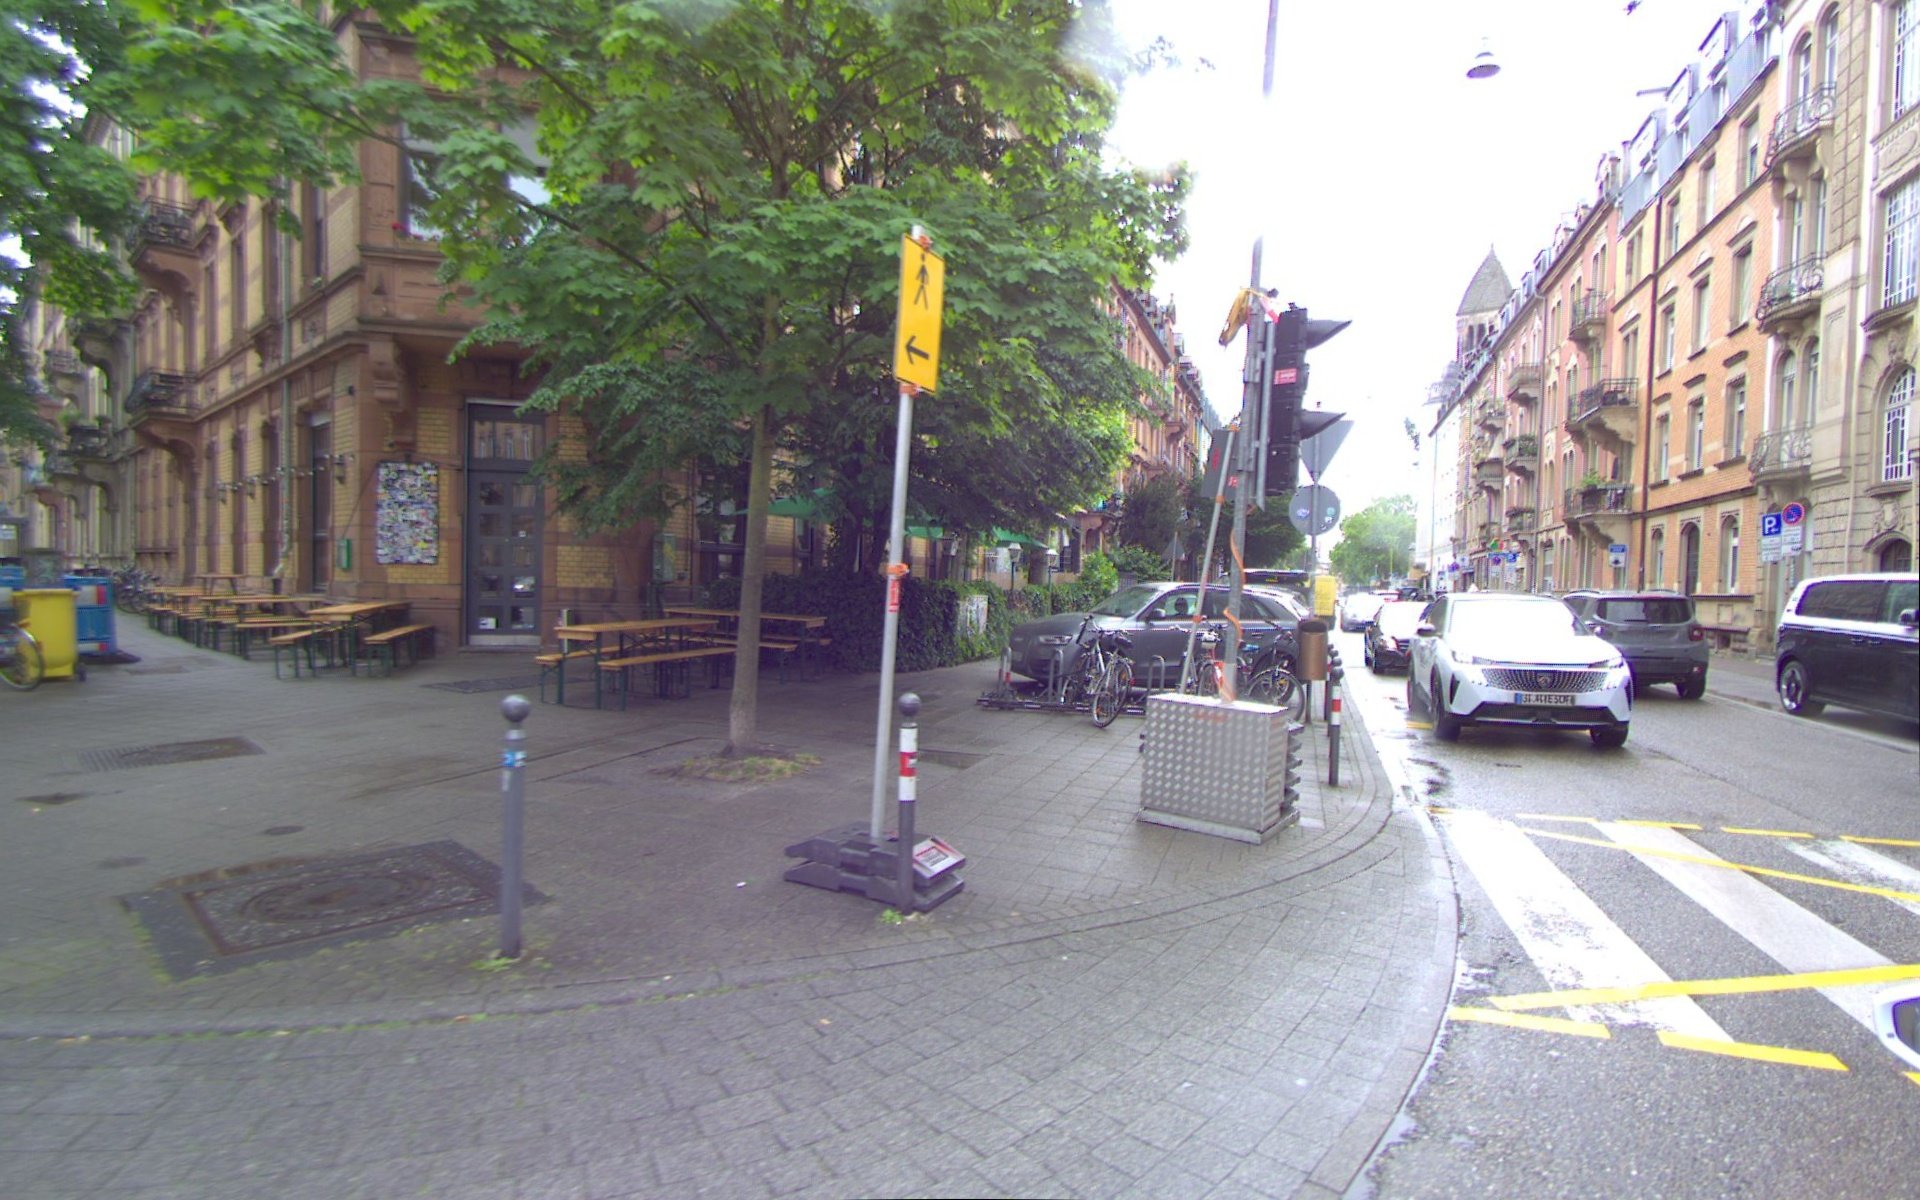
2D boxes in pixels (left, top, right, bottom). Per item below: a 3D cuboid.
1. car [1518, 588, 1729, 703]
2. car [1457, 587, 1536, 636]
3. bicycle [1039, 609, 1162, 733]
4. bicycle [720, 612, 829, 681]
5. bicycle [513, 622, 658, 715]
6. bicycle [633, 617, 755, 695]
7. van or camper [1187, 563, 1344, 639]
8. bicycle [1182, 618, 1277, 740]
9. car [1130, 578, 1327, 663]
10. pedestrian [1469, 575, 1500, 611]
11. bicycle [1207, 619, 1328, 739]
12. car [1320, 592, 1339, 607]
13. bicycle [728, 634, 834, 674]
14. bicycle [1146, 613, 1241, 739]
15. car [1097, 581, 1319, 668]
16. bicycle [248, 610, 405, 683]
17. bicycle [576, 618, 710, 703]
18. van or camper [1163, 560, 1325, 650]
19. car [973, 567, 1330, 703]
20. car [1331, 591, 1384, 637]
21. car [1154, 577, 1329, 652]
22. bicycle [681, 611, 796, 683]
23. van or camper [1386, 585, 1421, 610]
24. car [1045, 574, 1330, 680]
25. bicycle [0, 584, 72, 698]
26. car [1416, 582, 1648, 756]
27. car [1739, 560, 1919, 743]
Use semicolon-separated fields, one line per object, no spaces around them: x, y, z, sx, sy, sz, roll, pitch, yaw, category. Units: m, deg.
11.157;0.656;17.275;1.867;1.693;4.506;1;1;18;car
21.398;0.417;40.272;1.960;1.803;4.827;1;1;18;car
1.464;0.712;10.841;0.762;1.159;1.928;2;1;-9;bicycle
-2.456;0.603;13.313;1.367;0.826;0.406;2;1;15;bicycle
-3.724;0.659;9.982;1.367;0.826;0.406;2;2;15;bicycle
-3.139;0.644;11.860;1.367;0.826;0.406;2;2;15;bicycle
10.536;0.020;34.787;4.646;2.298;2.179;3;2;-13;van or camper
2.910;0.815;10.992;0.392;1.159;1.680;2;1;-6;bicycle
6.301;0.466;23.671;4.072;1.684;1.794;4;1;-17;car
28.264;-0.393;54.158;1.923;0.817;0.674;-48;26;-26;pedestrian
3.377;0.832;11.187;0.576;1.159;1.679;2;1;-9;bicycle
39.245;-0.091;106.775;1.641;1.580;4.004;1;1;17;car
-2.430;0.729;13.659;1.367;0.459;0.406;2;1;15;bicycle
2.507;0.776;10.972;0.392;1.201;1.876;2;1;-6;bicycle
5.130;0.505;20.881;4.071;1.513;1.795;4;0;-16;car
-7.549;0.553;12.020;1.520;0.826;0.404;1;1;-15;bicycle
-3.429;0.637;10.869;1.367;0.826;0.406;2;2;15;bicycle
8.219;0.157;29.227;4.015;2.269;1.932;4;0;-13;van or camper
2.596;0.486;13.875;4.387;1.584;1.993;3;0;-17;car
16.453;0.529;41.755;1.766;1.514;4.581;5;4;19;car
7.442;0.393;26.619;4.072;1.684;1.794;4;0;-17;car
-2.778;0.579;12.617;1.367;0.826;0.406;2;2;15;bicycle
34.271;-0.202;77.688;1.988;1.916;5.055;0;1;19;van or camper
4.130;0.480;18.445;4.647;1.584;1.994;3;2;-15;car
-10.497;0.385;10.496;2.364;1.106;0.742;2;1;19;bicycle
6.740;0.687;12.386;1.828;1.682;5.006;0;0;22;car
11.692;0.539;12.022;1.960;1.965;5.231;0;0;17;car
